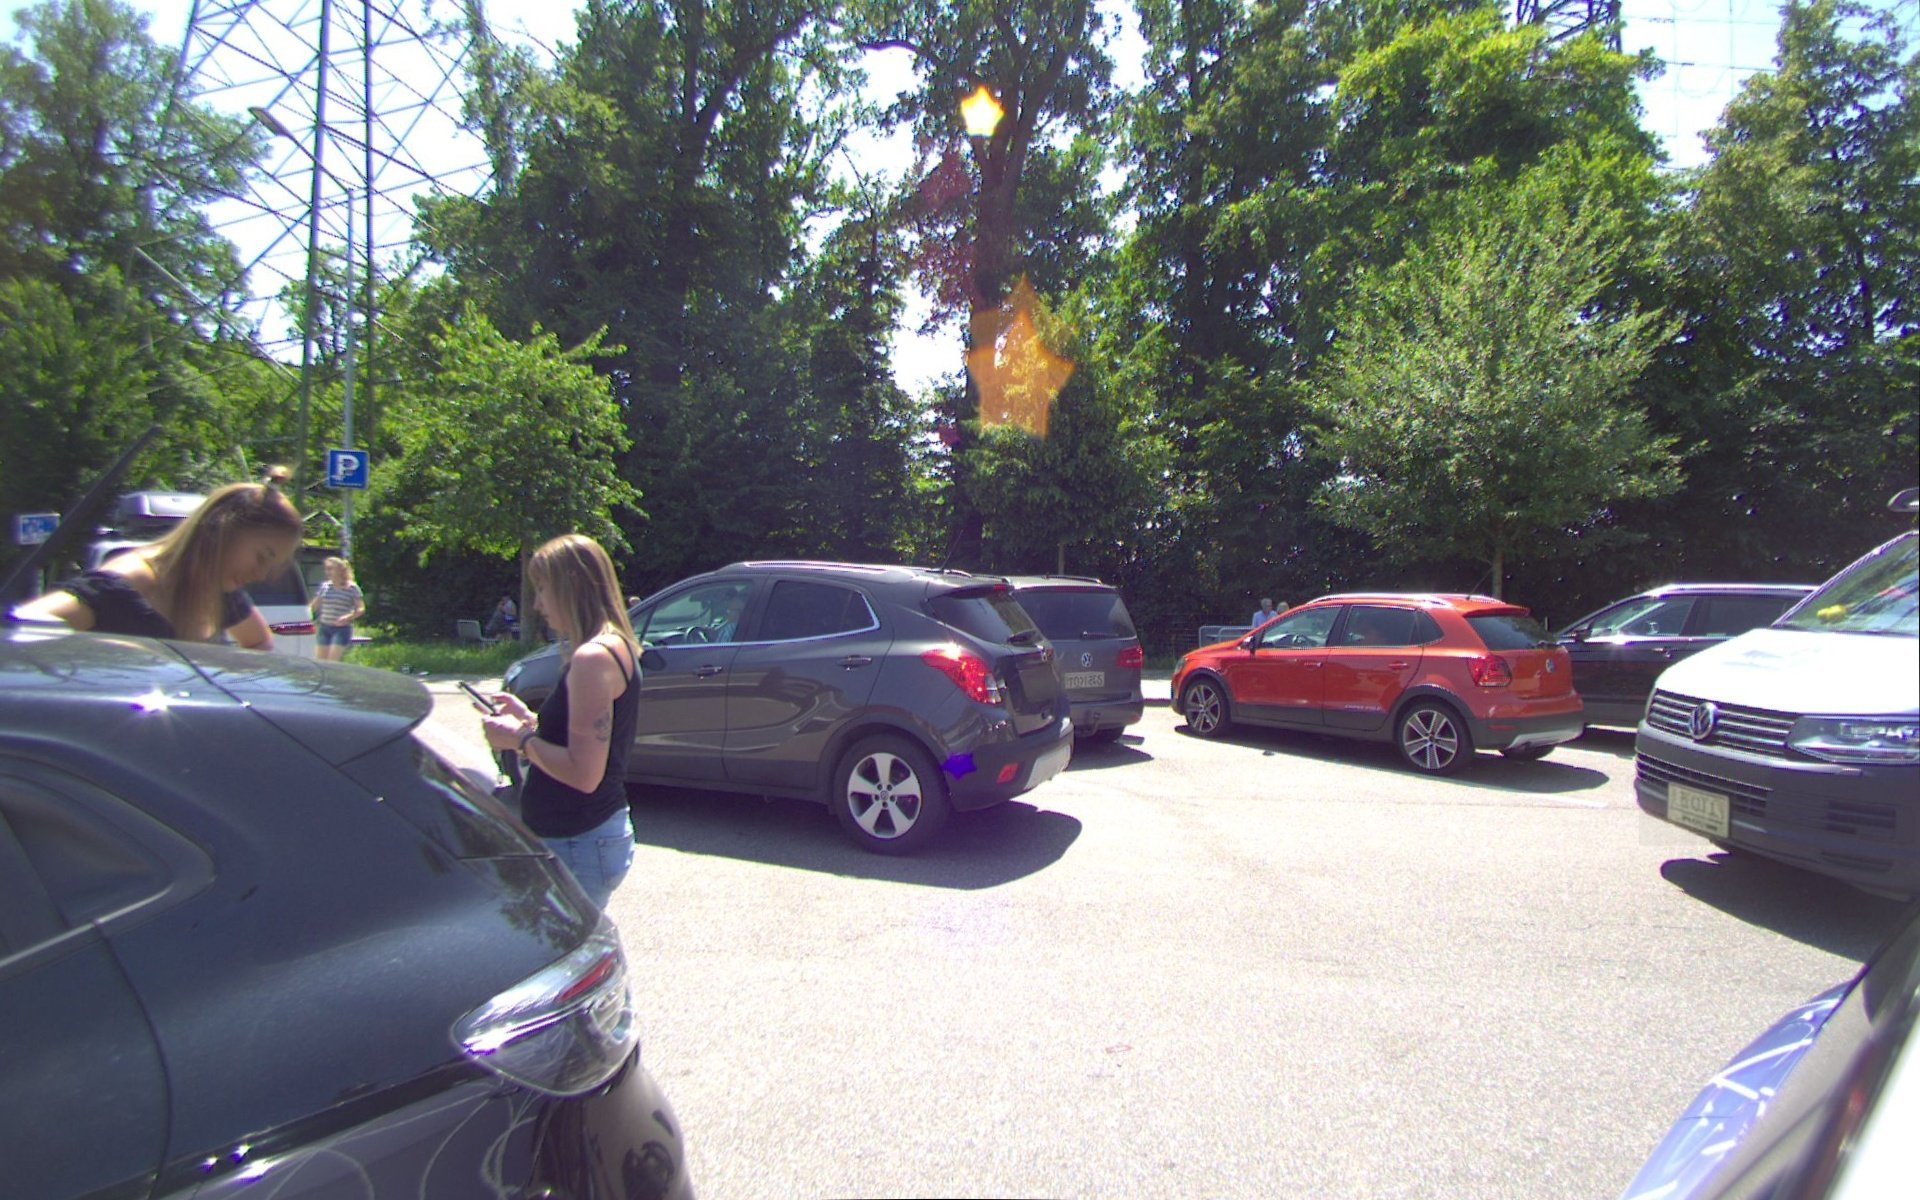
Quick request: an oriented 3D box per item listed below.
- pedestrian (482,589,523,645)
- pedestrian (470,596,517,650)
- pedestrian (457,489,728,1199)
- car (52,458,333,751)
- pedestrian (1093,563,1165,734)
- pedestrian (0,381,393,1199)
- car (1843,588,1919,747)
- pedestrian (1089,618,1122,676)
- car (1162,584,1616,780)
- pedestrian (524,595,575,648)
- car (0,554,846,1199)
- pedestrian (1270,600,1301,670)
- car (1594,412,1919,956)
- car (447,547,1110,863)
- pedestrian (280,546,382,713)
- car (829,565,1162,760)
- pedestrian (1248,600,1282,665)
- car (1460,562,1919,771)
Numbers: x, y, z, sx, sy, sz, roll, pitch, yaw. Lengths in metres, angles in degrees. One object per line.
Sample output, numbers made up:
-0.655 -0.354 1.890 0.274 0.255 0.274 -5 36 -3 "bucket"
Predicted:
-11.103 0.397 24.557 0.539 1.318 0.758 0 0 37 "pedestrian"
-10.476 0.495 22.716 0.785 1.178 0.696 0 0 39 "pedestrian"
-0.946 0.560 2.606 0.477 1.614 0.502 1 -1 -44 "pedestrian"
-8.354 0.027 10.799 1.897 2.400 4.963 1 -1 -43 "car"
1.774 0.494 10.643 0.576 1.744 0.483 0 0 -20 "pedestrian"
-1.831 0.510 2.458 0.477 1.883 0.914 1 -1 -9 "pedestrian"
10.424 0.644 8.863 1.813 1.473 3.776 1 0 -36 "car"
2.276 0.724 15.779 0.494 0.890 0.512 0 -1 10 "pedestrian"
3.863 0.624 9.688 1.588 1.485 3.751 1 0 -34 "car"
-9.590 0.492 23.641 0.810 1.201 0.836 0 0 40 "pedestrian"
-2.054 0.709 0.758 1.777 1.476 3.626 0 0 45 "car"
5.735 0.612 17.840 0.348 1.207 0.367 0 0 -20 "pedestrian"
6.261 0.346 4.693 5.336 2.131 1.842 1 1 4 "car"
-1.213 0.527 6.888 4.119 1.637 1.825 1 0 22 "car"
-7.538 0.329 12.135 0.772 1.903 0.829 0 0 38 "pedestrian"
0.165 0.515 10.621 1.670 1.637 3.912 0 0 -30 "car"
5.748 0.601 19.081 0.433 1.207 0.414 0 0 -30 "pedestrian"
7.143 0.522 9.714 1.679 1.637 3.863 1 0 -40 "car"
